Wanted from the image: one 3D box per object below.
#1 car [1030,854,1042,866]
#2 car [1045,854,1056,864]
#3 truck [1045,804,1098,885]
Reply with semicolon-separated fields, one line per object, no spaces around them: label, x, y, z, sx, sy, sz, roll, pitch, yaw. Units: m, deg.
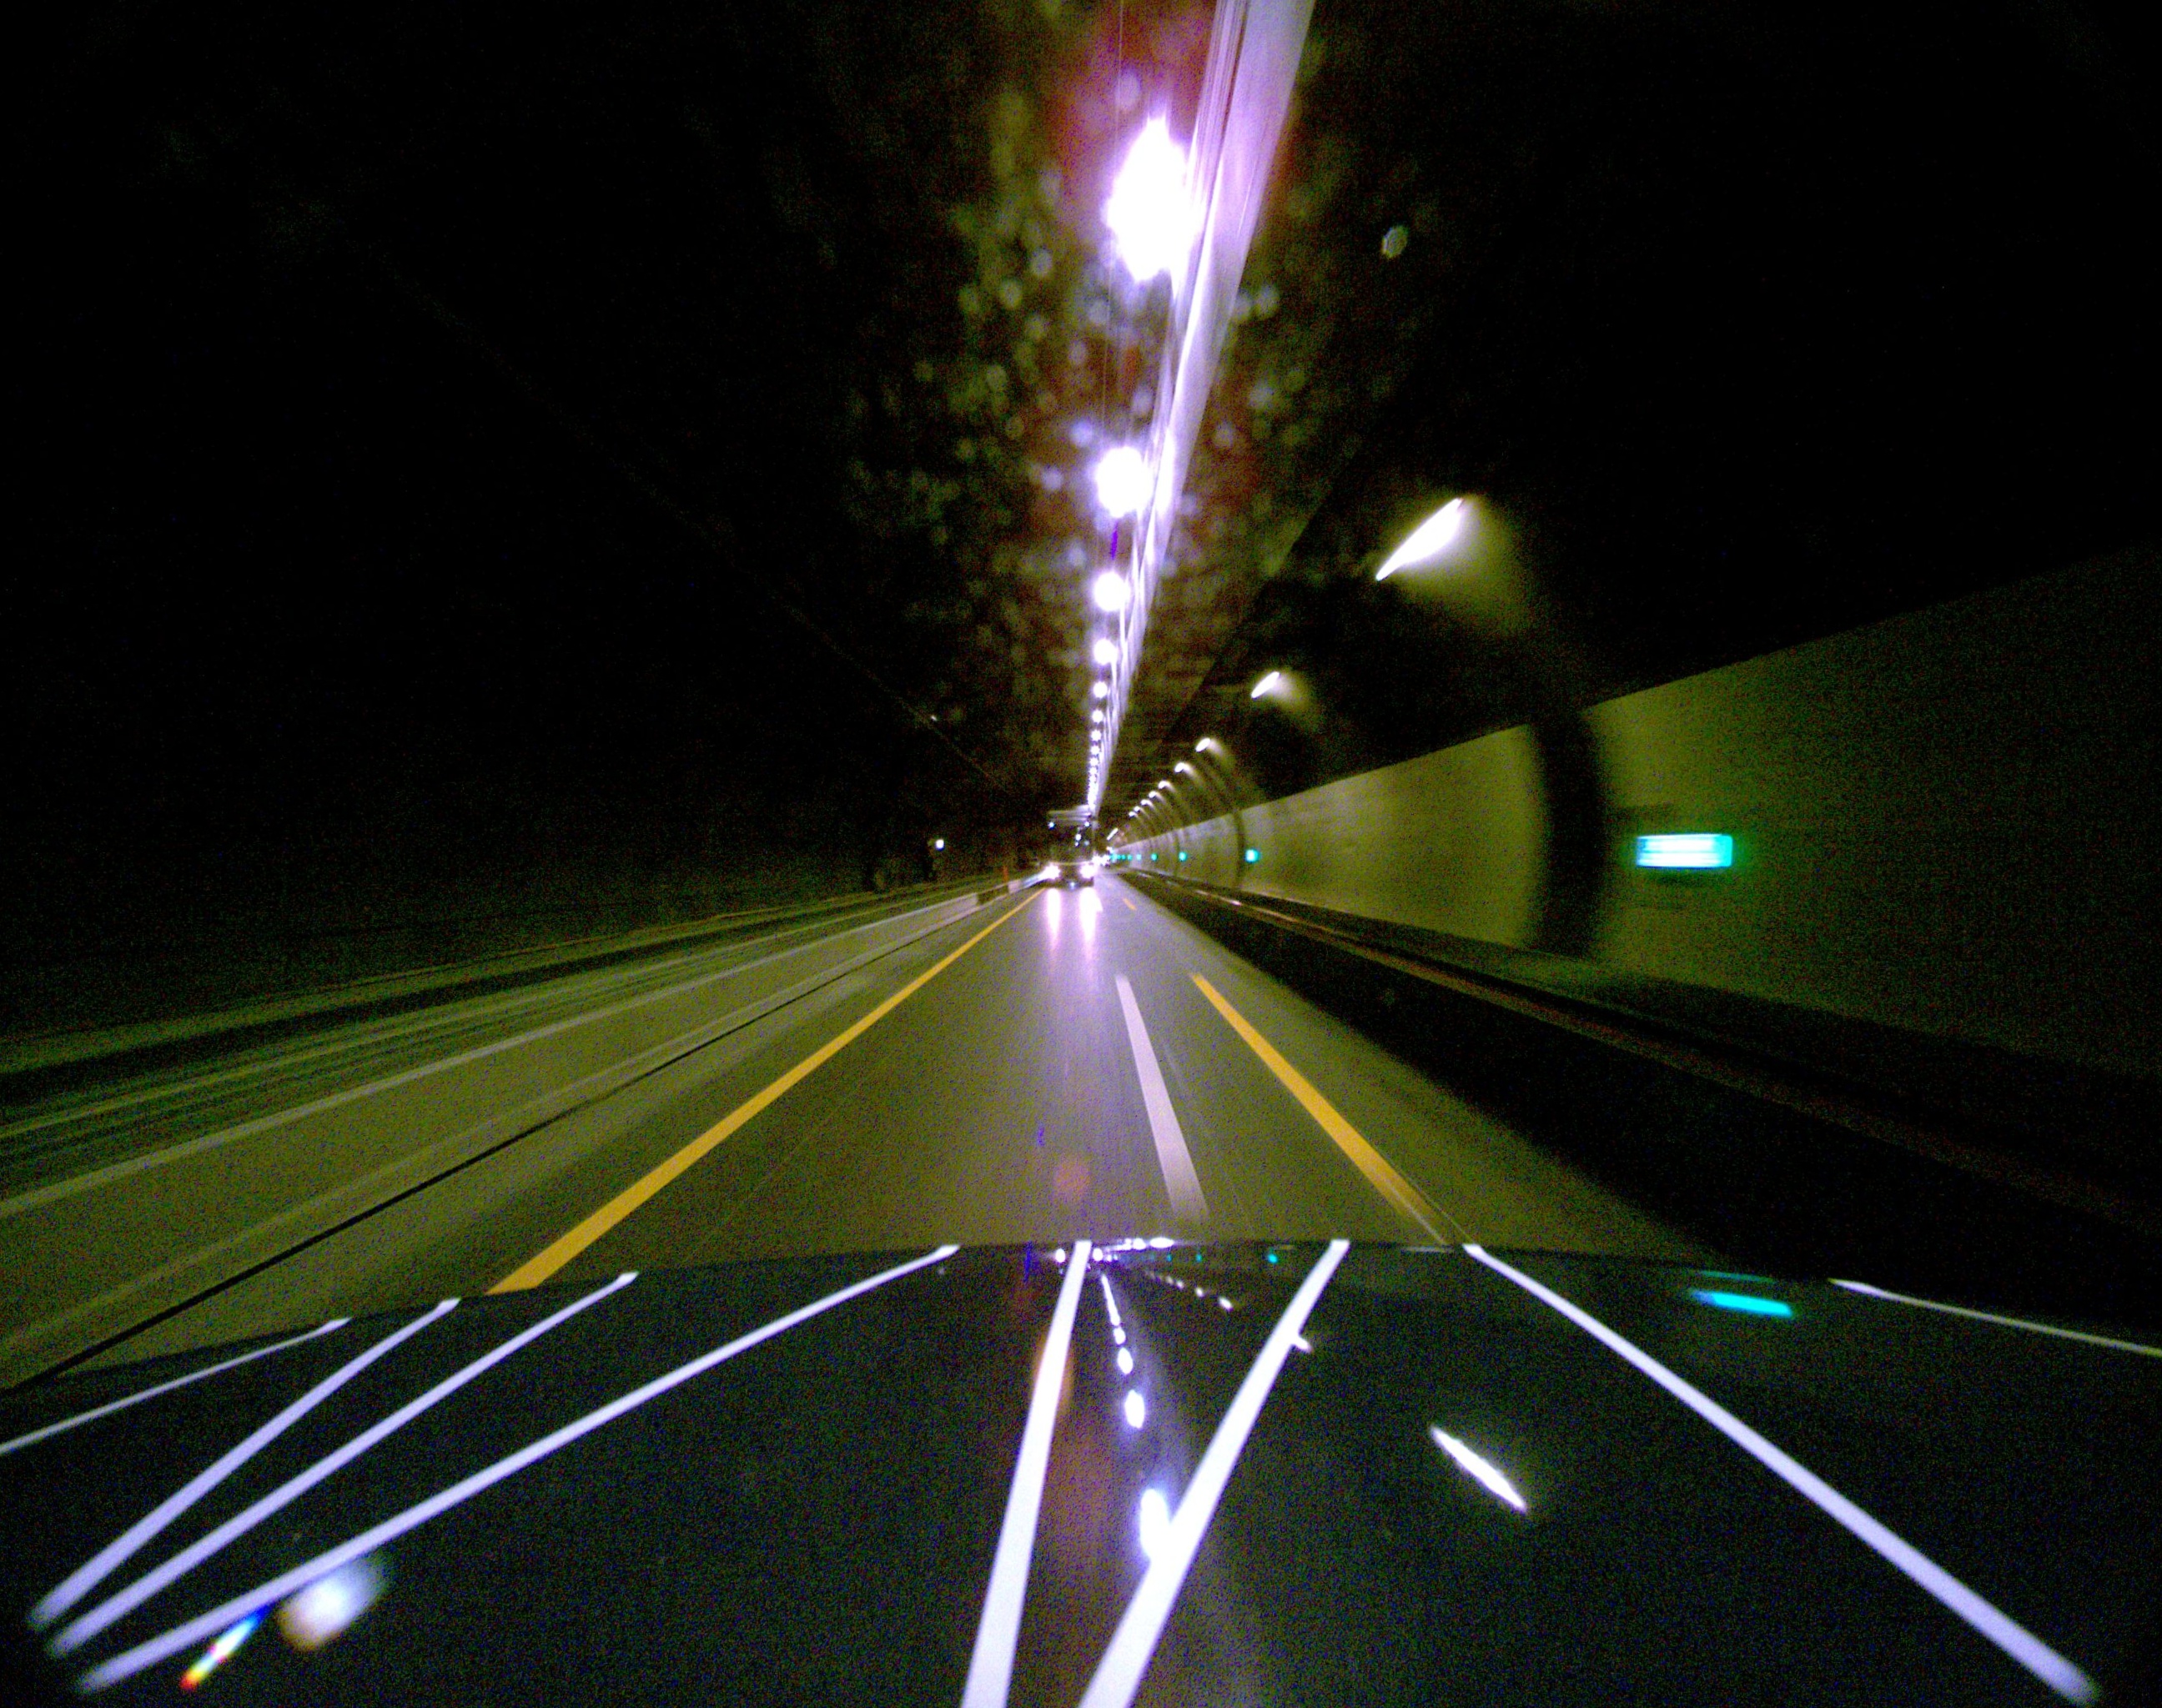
car;-6.698;0.912;114.145;1.756;1.834;4.644;0;0;-3
car;-5.821;1.003;144.180;1.832;1.847;5.441;-2;0;-1
truck;-0.410;-0.512;43.725;2.769;4.198;7.977;0;0;1
